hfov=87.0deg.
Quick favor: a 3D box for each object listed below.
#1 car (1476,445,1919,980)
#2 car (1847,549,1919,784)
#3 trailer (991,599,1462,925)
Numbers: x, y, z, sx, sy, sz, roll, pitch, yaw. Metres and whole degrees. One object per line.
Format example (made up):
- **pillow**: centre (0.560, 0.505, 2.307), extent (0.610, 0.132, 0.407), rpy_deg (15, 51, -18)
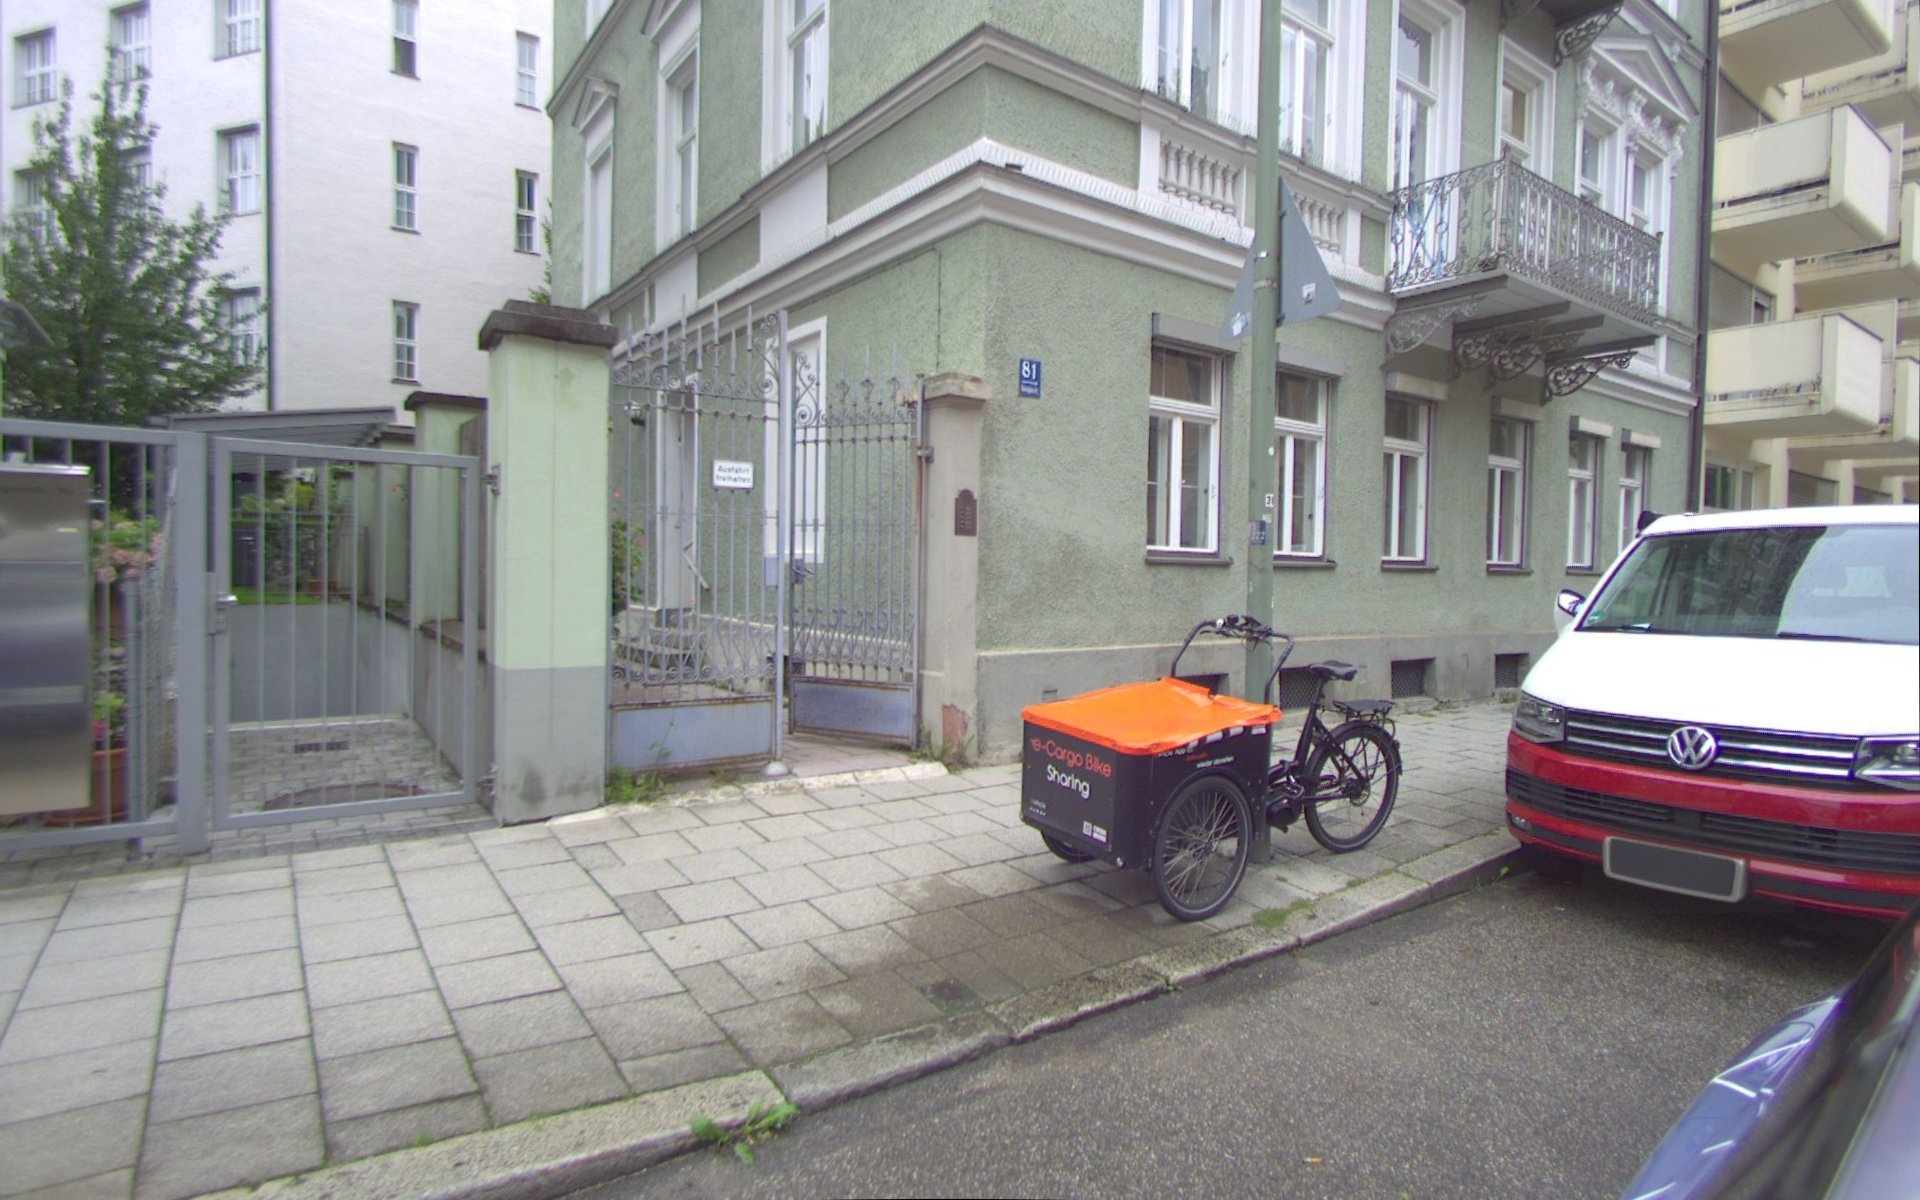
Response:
- **car**: centre (4.890, 0.403, 5.494), extent (4.505, 1.920, 1.859), rpy_deg (0, 0, -36)
- **car**: centre (9.344, 0.521, 8.601), extent (4.468, 1.780, 1.832), rpy_deg (1, 0, -37)
- **trailer**: centre (1.319, 0.636, 4.907), extent (2.121, 1.198, 0.947), rpy_deg (0, 5, -32)
